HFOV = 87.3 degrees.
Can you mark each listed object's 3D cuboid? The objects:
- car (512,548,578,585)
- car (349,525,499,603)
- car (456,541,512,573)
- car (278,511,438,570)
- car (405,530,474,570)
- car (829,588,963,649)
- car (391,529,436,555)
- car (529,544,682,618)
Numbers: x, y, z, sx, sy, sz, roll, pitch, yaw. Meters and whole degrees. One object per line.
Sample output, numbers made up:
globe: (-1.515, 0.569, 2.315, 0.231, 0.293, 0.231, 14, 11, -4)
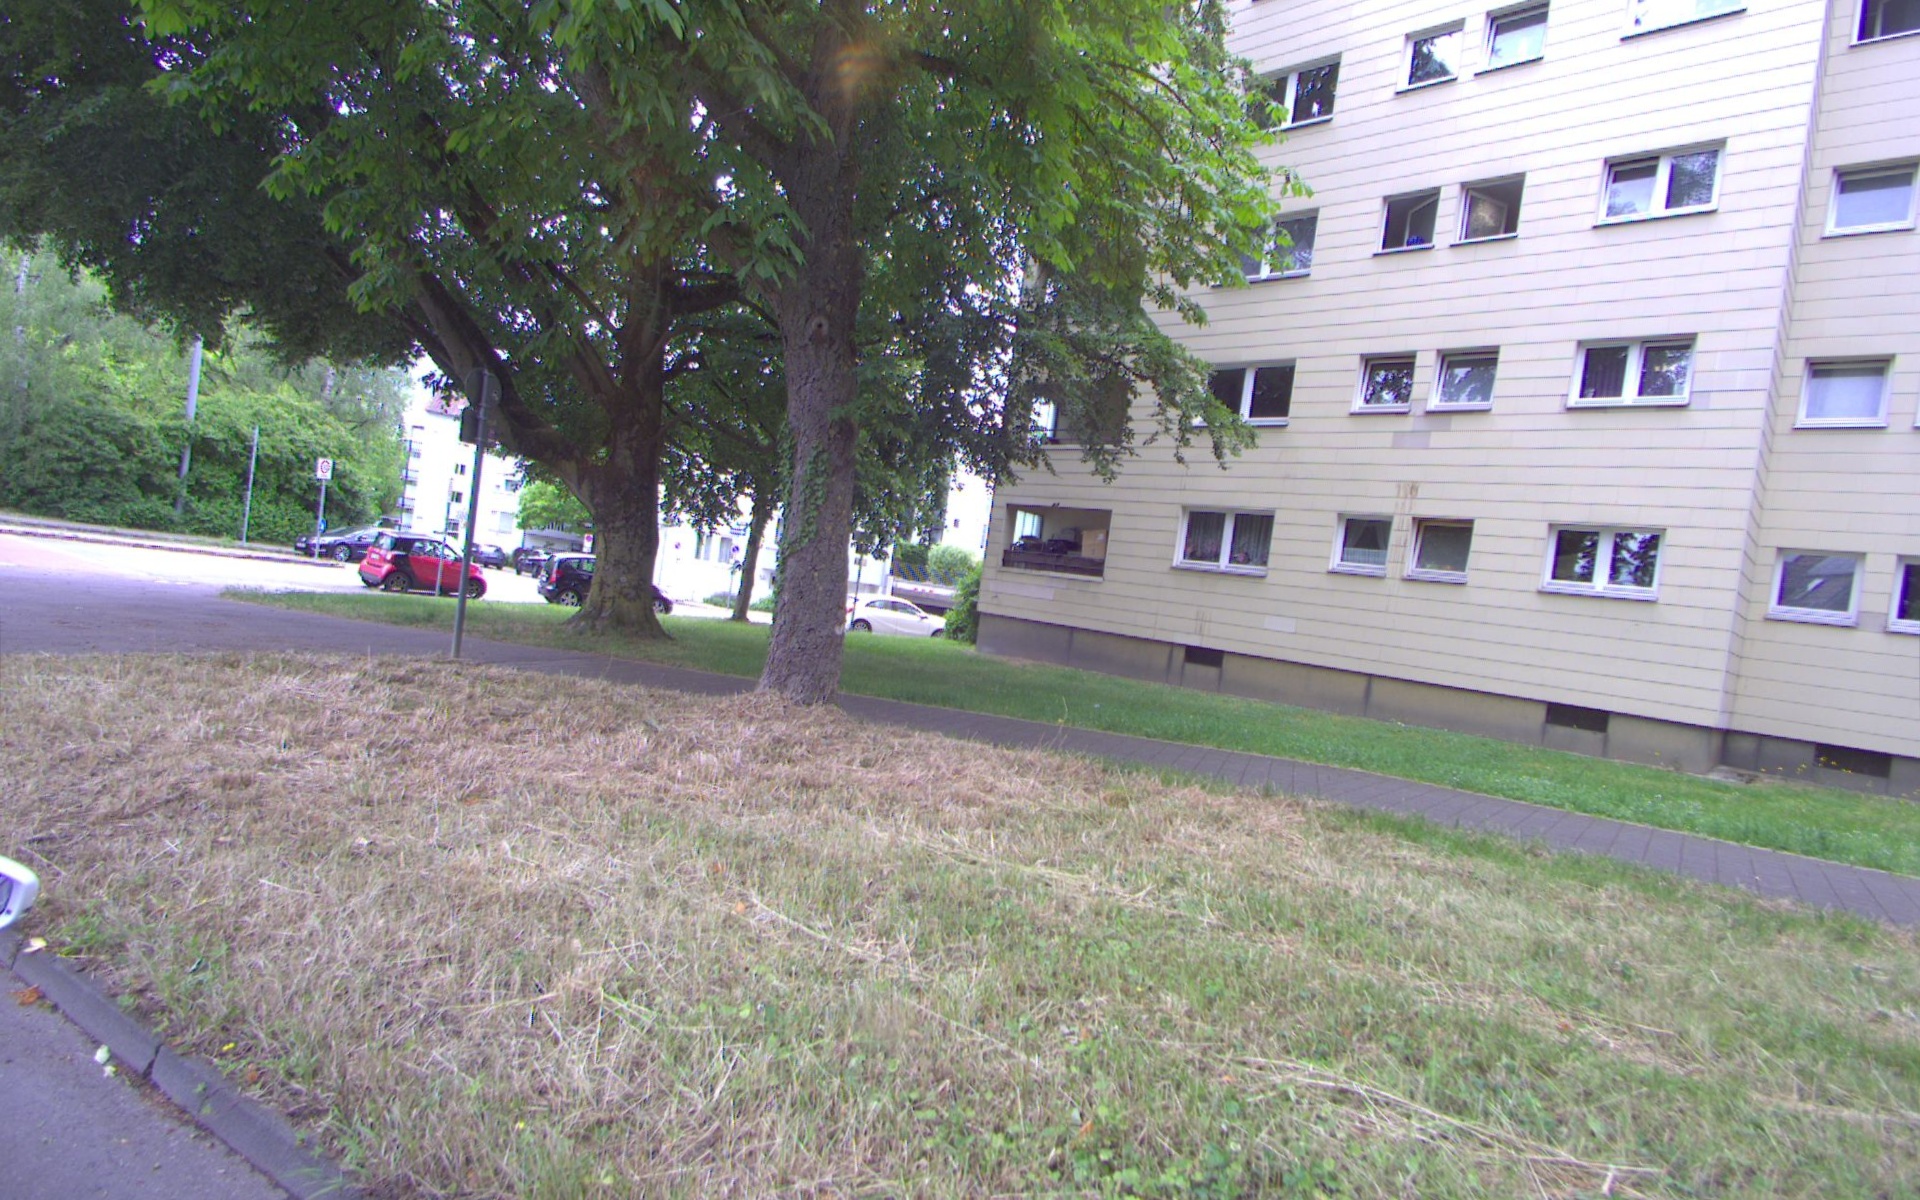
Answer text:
car: (-22.339, -1.835, 54.090, 1.922, 1.563, 4.016, 8, -1, -42)
car: (-14.021, -0.915, 26.421, 1.669, 1.524, 2.913, 9, 0, 36)
car: (-29.282, -2.666, 61.821, 1.922, 1.563, 4.016, 8, -1, -42)
car: (-22.534, -2.184, 37.883, 2.002, 1.456, 4.797, 8, 0, 25)
car: (-24.167, -2.335, 46.685, 1.797, 1.505, 3.625, 8, -1, -43)
car: (-2.136, 0.596, 33.026, 4.008, 1.452, 1.789, 7, 1, -15)
car: (-40.575, -4.319, 74.667, 1.922, 1.563, 4.016, 8, -1, -42)
car: (-10.426, -0.544, 29.670, 3.791, 1.610, 1.802, 9, -1, -34)
